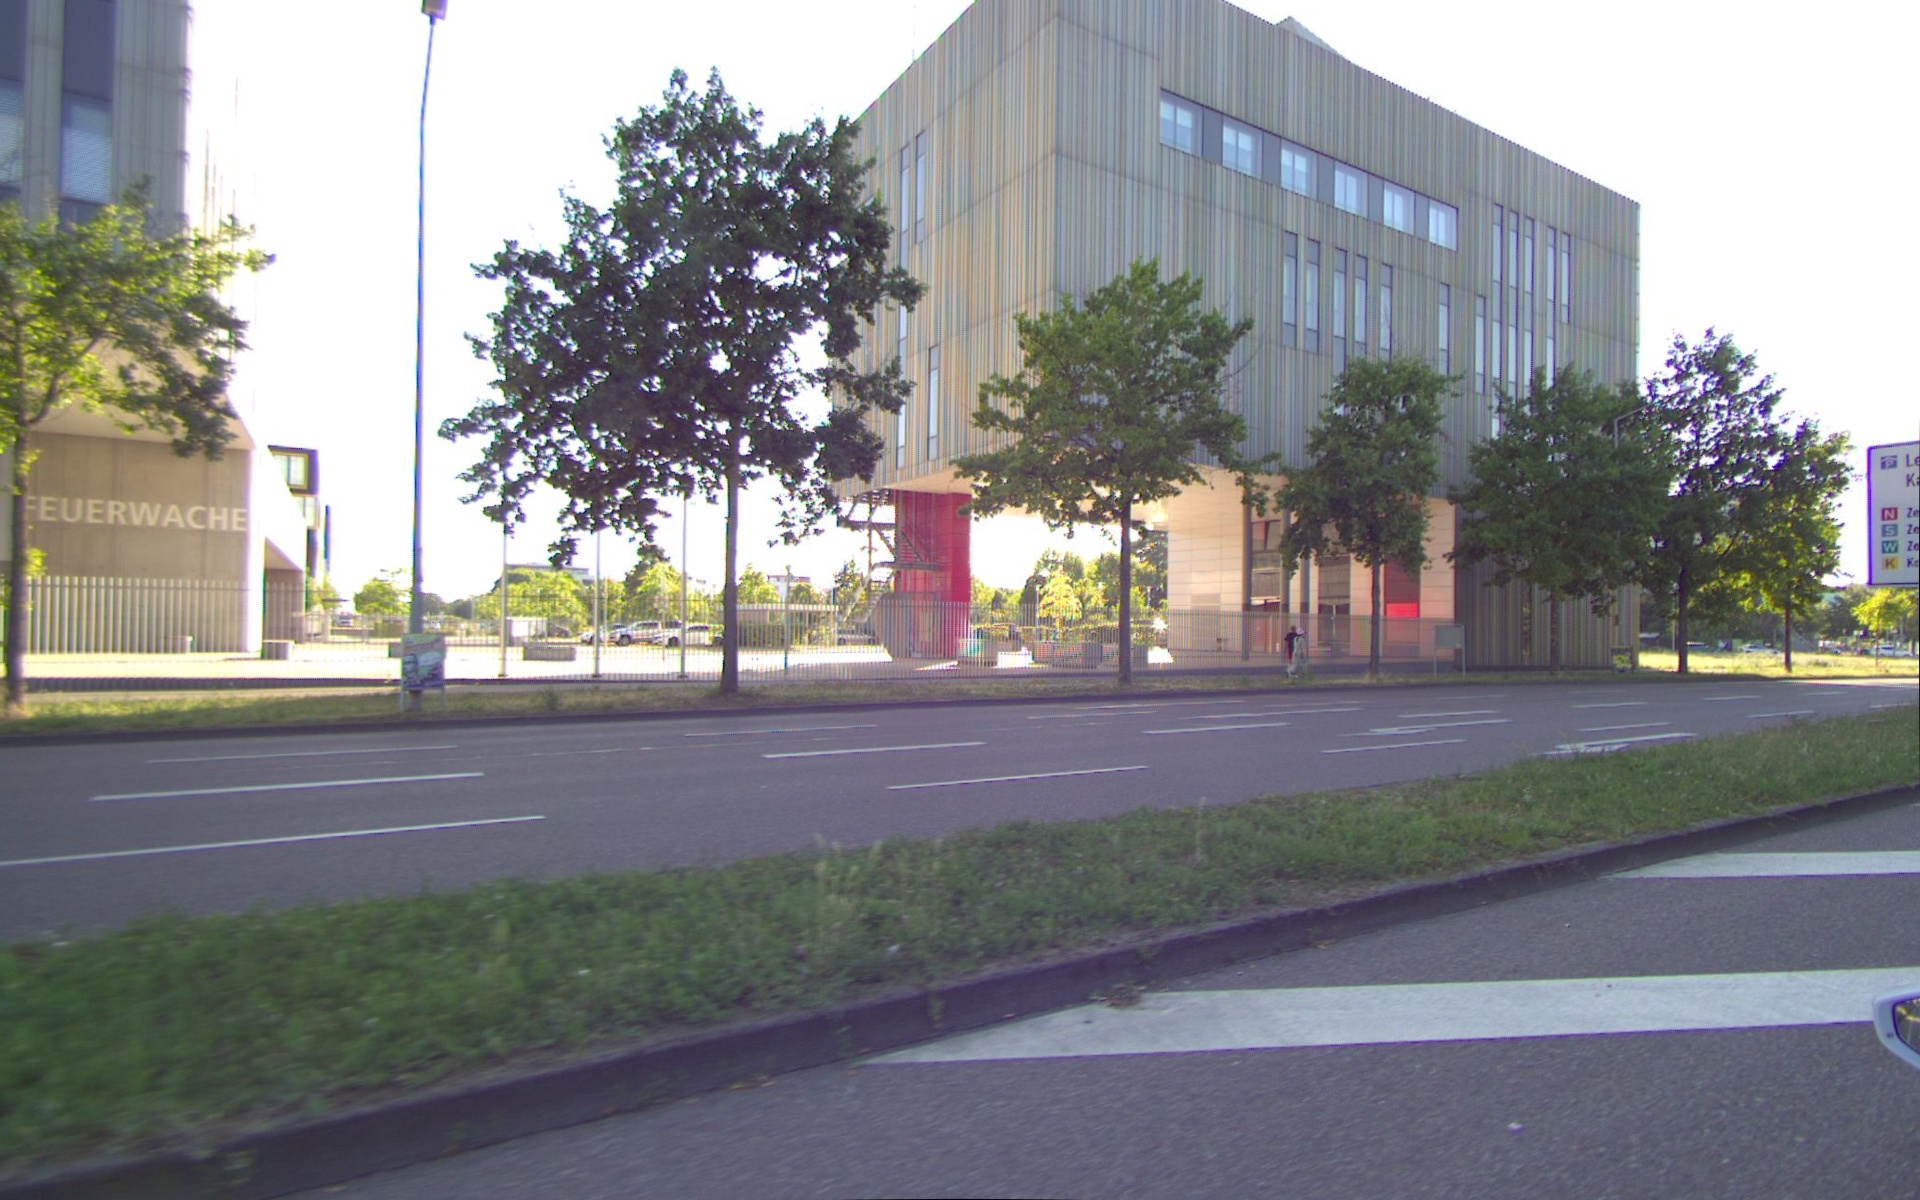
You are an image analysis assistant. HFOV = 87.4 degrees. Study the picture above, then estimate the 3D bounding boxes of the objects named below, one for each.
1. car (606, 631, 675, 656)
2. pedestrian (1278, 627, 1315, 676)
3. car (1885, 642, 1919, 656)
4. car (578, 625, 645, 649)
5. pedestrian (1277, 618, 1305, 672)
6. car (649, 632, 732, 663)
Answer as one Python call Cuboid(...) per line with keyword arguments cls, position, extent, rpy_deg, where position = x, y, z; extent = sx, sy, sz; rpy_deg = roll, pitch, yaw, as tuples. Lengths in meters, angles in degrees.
Cuboid(cls="car", position=(-23.566, 3.213, 74.128), extent=(4.459, 1.773, 1.894), rpy_deg=(2, -1, -33))
Cuboid(cls="pedestrian", position=(11.396, 1.745, 34.030), extent=(0.899, 1.622, 0.772), rpy_deg=(1, -1, -30))
Cuboid(cls="car", position=(109.961, 5.666, 116.042), extent=(4.222, 1.528, 1.876), rpy_deg=(0, -2, 16))
Cuboid(cls="car", position=(-27.823, 2.962, 80.202), extent=(4.735, 1.843, 1.894), rpy_deg=(2, -1, -33))
Cuboid(cls="pedestrian", position=(11.573, 1.567, 35.110), extent=(0.708, 1.865, 0.629), rpy_deg=(1, -1, -30))
Cuboid(cls="car", position=(-17.058, 2.999, 63.707), extent=(4.735, 1.899, 1.894), rpy_deg=(2, -1, -33))
